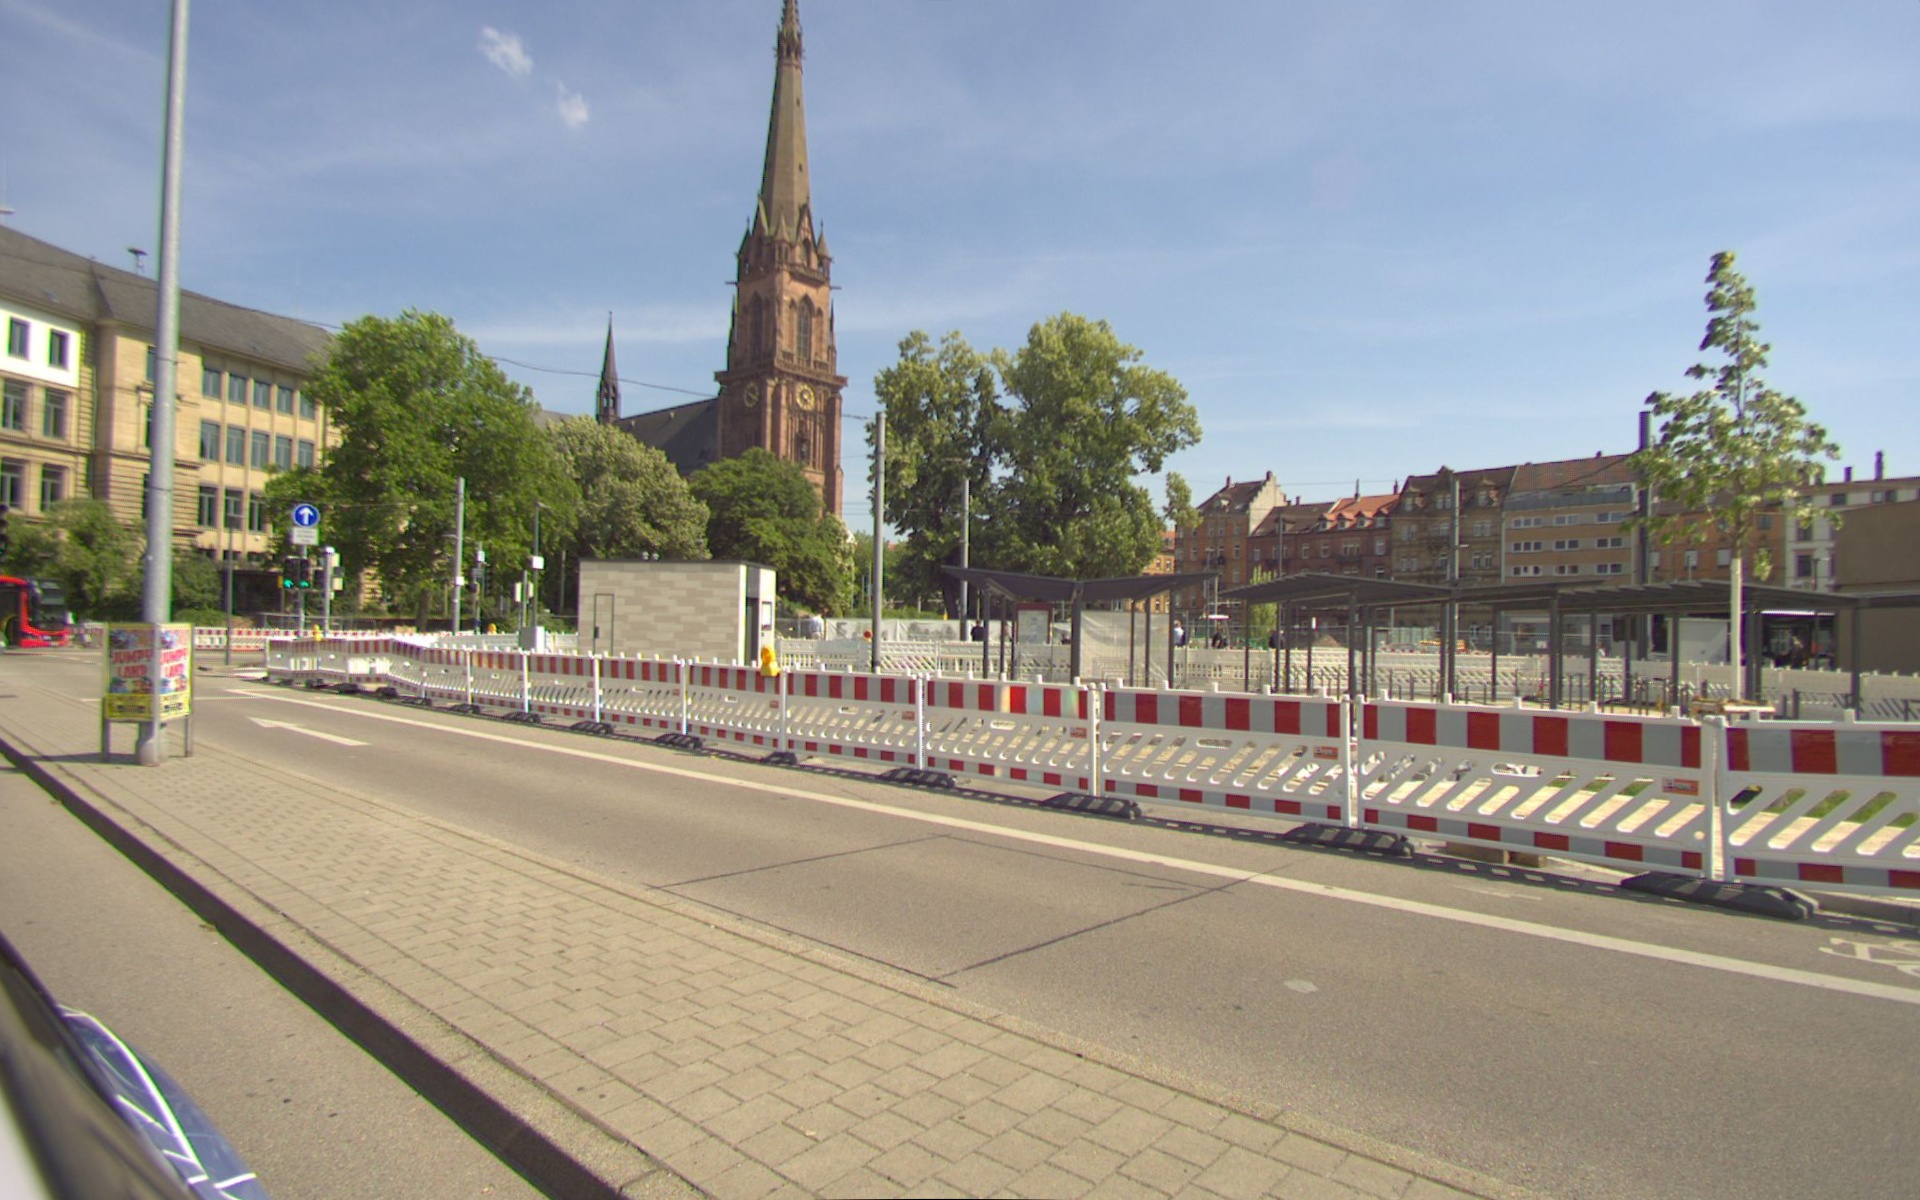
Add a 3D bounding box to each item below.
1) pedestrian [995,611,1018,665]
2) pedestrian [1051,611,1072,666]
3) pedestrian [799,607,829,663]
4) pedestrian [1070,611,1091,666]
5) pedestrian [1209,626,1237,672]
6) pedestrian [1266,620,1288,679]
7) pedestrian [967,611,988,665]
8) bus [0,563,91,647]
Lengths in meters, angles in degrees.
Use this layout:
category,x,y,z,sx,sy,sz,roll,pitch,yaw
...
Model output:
category,x,y,z,sx,sy,sz,roll,pitch,yaw
pedestrian,1.758,1.456,38.531,0.810,2.029,0.685,1,-2,6
pedestrian,3.819,1.461,38.064,0.679,2.029,0.818,1,-2,11
pedestrian,-5.393,1.306,37.294,0.686,2.029,0.809,-1,-3,43
pedestrian,4.482,1.427,37.657,0.679,2.029,0.818,1,-2,11
pedestrian,9.846,1.821,37.926,0.733,1.674,0.822,1,-2,-7
pedestrian,11.176,1.731,35.680,0.680,2.029,0.816,0,-2,16
pedestrian,0.674,1.437,38.682,0.678,2.029,0.819,1,-2,7
bus,-40.467,0.212,37.749,12.208,3.117,3.141,0,0,-12
